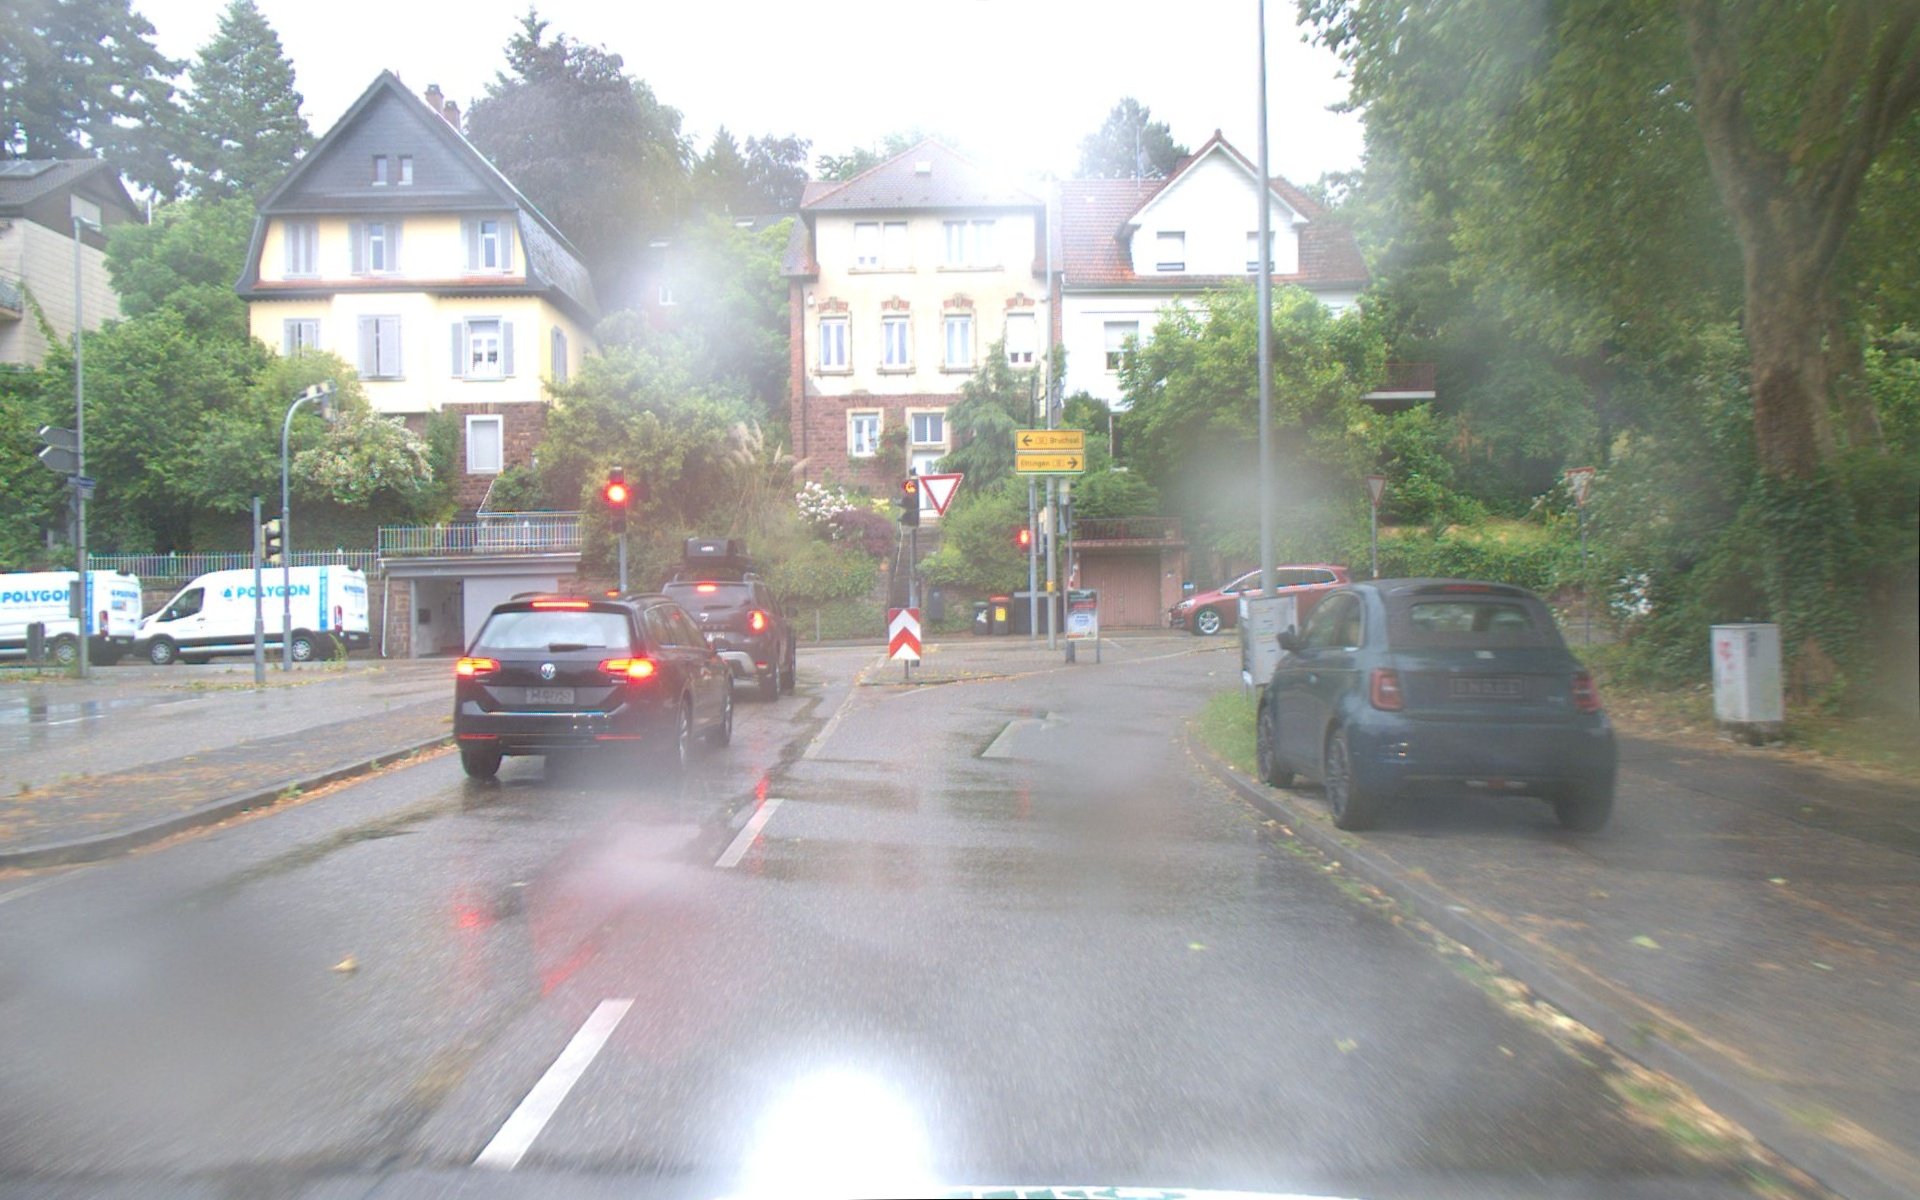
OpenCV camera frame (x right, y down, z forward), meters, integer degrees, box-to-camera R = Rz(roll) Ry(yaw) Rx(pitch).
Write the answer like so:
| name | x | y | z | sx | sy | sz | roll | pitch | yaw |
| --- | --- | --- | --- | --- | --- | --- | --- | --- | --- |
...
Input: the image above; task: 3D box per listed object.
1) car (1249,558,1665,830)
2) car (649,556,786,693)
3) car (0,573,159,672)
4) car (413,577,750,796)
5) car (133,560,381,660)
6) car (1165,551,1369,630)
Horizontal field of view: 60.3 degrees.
| name | x | y | z | sx | sy | sz | roll | pitch | yaw |
| --- | --- | --- | --- | --- | --- | --- | --- | --- | --- |
| car | 3.169 | 0.536 | 11.285 | 1.713 | 1.518 | 3.599 | 1 | 0 | 0 |
| car | -3.343 | 0.264 | 23.335 | 1.727 | 1.741 | 4.594 | 0 | 1 | -7 |
| car | -24.570 | 0.614 | 43.934 | 5.448 | 2.538 | 2.316 | -1 | -1 | 1 |
| car | -3.000 | 0.585 | 14.142 | 1.794 | 1.481 | 4.659 | 1 | 1 | 0 |
| car | -18.504 | 0.273 | 43.727 | 5.543 | 2.538 | 2.316 | -1 | -1 | 1 |
| car | 7.255 | -0.205 | 39.372 | 4.474 | 1.629 | 1.775 | -3 | -1 | 1 |
